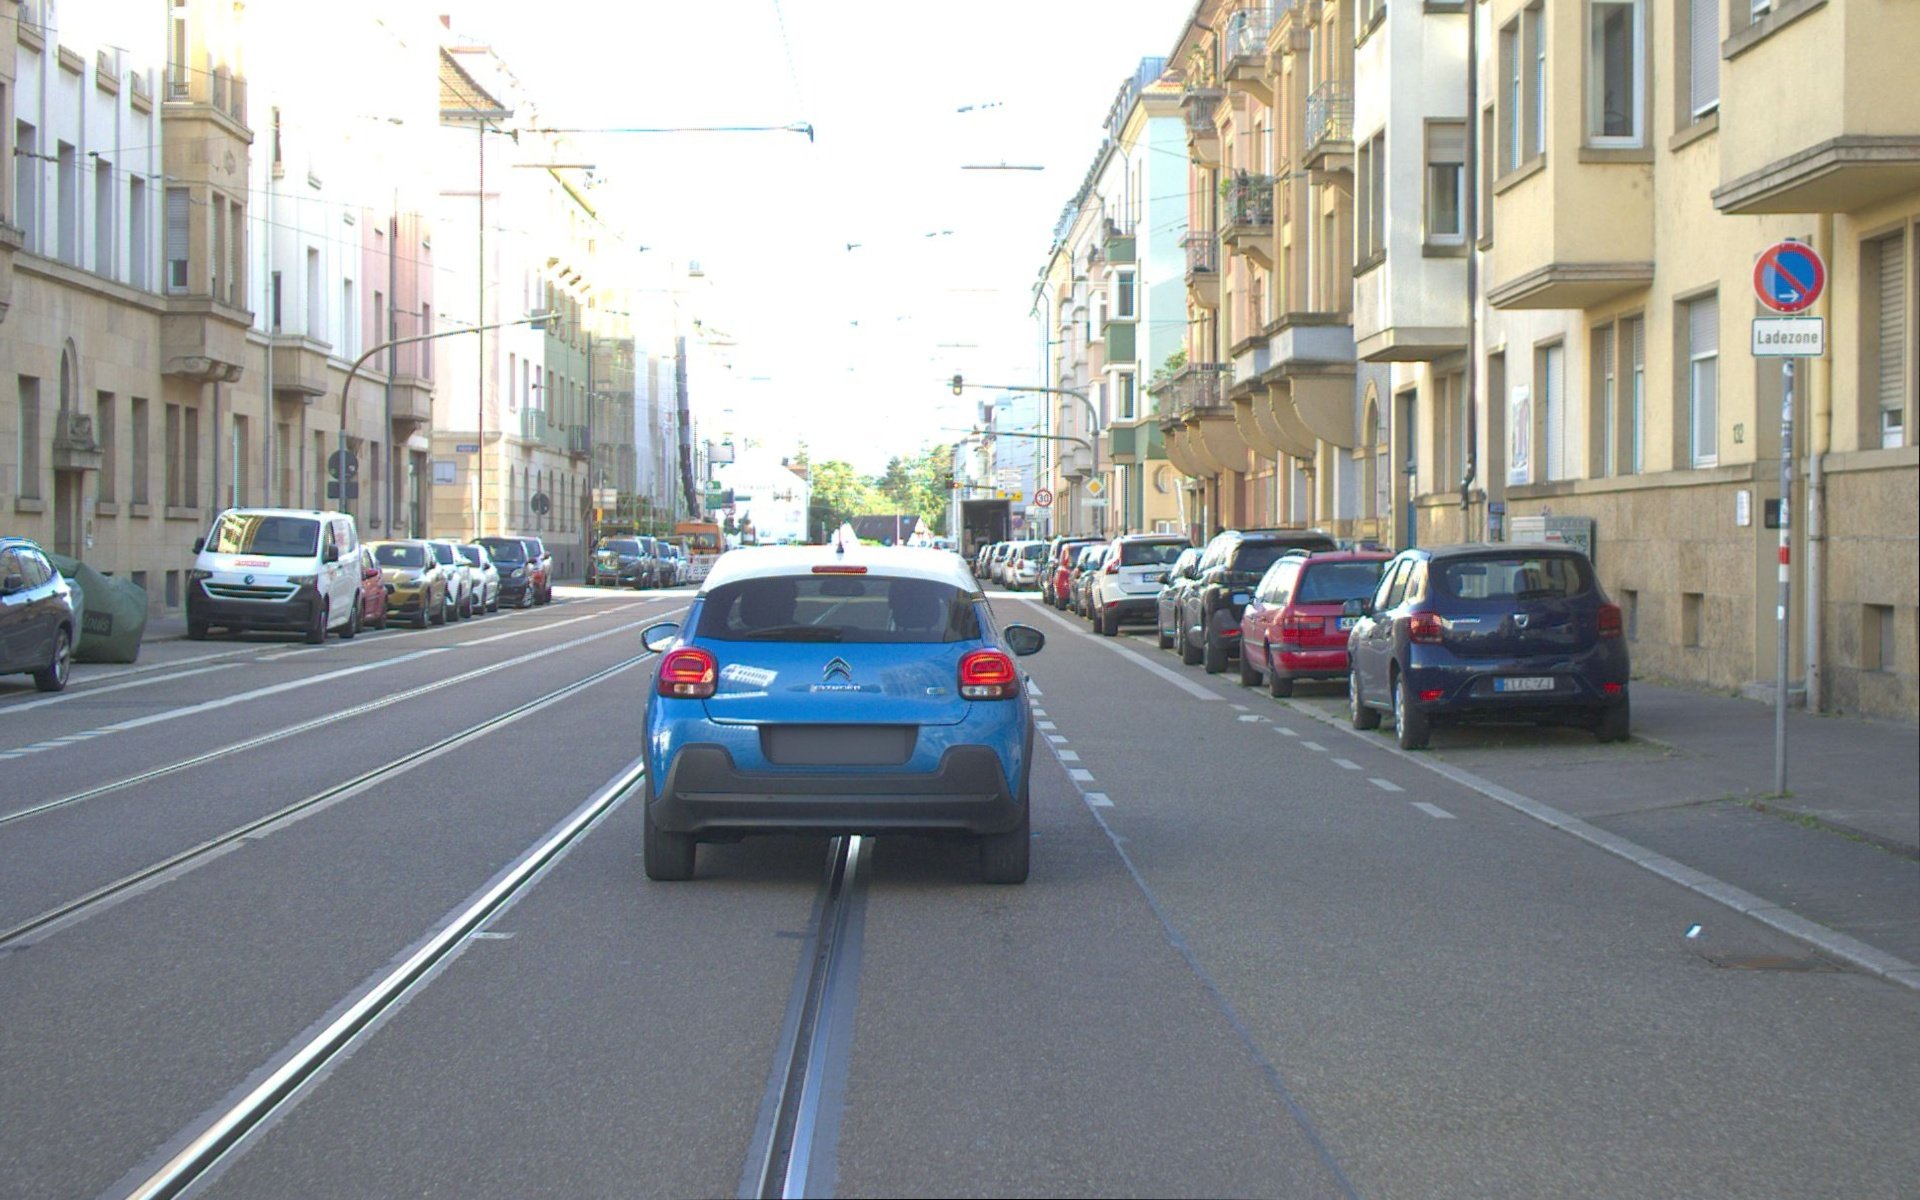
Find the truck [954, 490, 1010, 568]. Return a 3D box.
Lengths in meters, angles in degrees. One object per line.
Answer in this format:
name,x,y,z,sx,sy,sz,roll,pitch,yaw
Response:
truck,1.188,-3.772,184.082,2.853,4.069,11.271,0,1,0

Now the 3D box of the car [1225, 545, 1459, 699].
car,3.806,0.169,34.985,1.859,1.450,4.710,0,1,0

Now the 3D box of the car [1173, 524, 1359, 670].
car,3.611,-0.076,41.279,1.859,1.660,4.562,0,1,1

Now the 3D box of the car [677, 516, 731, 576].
car,-11.005,-2.345,148.110,2.144,2.467,4.981,2,1,-3

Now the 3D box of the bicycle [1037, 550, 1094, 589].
bicycle,3.366,-0.967,109.805,1.722,1.150,0.469,-3,1,0

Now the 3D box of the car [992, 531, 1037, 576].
car,2.230,-1.948,142.177,1.730,1.821,4.687,0,1,0

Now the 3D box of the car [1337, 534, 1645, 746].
car,4.037,0.252,26.711,1.718,1.485,4.002,-1,1,0

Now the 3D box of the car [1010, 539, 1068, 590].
car,2.597,-1.175,113.150,1.783,1.626,4.000,0,1,0

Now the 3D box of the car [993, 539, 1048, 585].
car,2.080,-1.333,119.049,1.783,1.570,4.326,0,1,0

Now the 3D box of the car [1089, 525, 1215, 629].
car,3.201,-0.416,58.131,1.843,1.685,4.505,0,1,0

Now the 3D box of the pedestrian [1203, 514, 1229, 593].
pedestrian,5.463,-0.991,73.417,0.513,1.681,0.448,0,1,-1

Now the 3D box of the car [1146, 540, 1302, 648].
car,3.615,-0.118,47.642,1.737,1.437,4.033,0,1,-2

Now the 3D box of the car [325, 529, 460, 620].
car,-10.196,-0.484,62.000,1.783,1.518,4.360,2,1,-2

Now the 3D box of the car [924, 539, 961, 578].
car,-0.895,-2.067,171.878,1.821,1.888,4.000,1,1,-1

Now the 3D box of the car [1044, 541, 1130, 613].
car,2.735,-0.522,74.790,1.654,1.508,4.474,0,1,-1

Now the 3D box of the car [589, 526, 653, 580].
car,-11.137,-1.551,113.137,1.783,1.684,4.668,2,1,-3

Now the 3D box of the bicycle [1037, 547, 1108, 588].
bicycle,3.446,-0.992,105.251,2.086,1.150,0.848,-3,1,0

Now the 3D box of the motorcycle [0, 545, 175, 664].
motorcycle,-10.251,0.036,40.357,0.885,1.346,1.954,1,1,32

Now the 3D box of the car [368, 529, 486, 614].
car,-10.382,-0.586,67.237,1.771,1.541,4.366,2,1,-3

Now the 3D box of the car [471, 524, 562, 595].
car,-10.601,-0.985,82.396,1.783,1.601,4.398,2,1,-3

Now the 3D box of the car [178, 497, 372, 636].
car,-10.289,-0.531,52.017,1.973,1.942,5.252,2,1,-2

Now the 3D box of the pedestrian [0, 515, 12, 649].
pedestrian,-12.634,-0.240,44.280,0.679,1.718,0.616,1,1,0

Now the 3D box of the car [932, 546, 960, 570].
car,-0.903,-2.679,217.149,1.765,1.481,4.032,0,1,0

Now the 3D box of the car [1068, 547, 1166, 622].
car,3.158,-0.341,69.870,1.654,1.478,4.475,0,1,-2

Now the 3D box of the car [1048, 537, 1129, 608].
car,2.948,-0.655,79.374,1.753,1.589,3.730,0,1,1

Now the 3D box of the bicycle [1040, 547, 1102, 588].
bicycle,3.416,-1.005,105.946,1.842,1.150,0.469,-3,1,0

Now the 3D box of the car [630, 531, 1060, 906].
car,-0.495,0.456,16.272,1.735,1.502,3.993,2,1,-1

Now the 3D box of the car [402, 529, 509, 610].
car,-10.618,-0.668,72.555,1.783,1.616,4.180,2,1,-3

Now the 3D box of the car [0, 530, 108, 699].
car,-9.886,0.097,33.702,1.783,1.560,4.610,2,1,1

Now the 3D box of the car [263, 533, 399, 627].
car,-10.457,-0.359,57.367,1.602,1.467,3.646,2,1,-1

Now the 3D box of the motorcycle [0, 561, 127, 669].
motorcycle,-10.380,0.151,38.500,0.740,1.167,2.176,1,1,29

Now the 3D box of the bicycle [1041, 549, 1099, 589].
bicycle,3.420,-0.968,107.185,1.722,1.150,0.469,-3,1,0

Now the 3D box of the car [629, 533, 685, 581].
car,-10.990,-1.578,124.773,1.783,1.621,4.610,2,1,-3

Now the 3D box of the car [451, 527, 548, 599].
car,-10.454,-0.850,78.249,1.783,1.547,3.019,2,1,-1
